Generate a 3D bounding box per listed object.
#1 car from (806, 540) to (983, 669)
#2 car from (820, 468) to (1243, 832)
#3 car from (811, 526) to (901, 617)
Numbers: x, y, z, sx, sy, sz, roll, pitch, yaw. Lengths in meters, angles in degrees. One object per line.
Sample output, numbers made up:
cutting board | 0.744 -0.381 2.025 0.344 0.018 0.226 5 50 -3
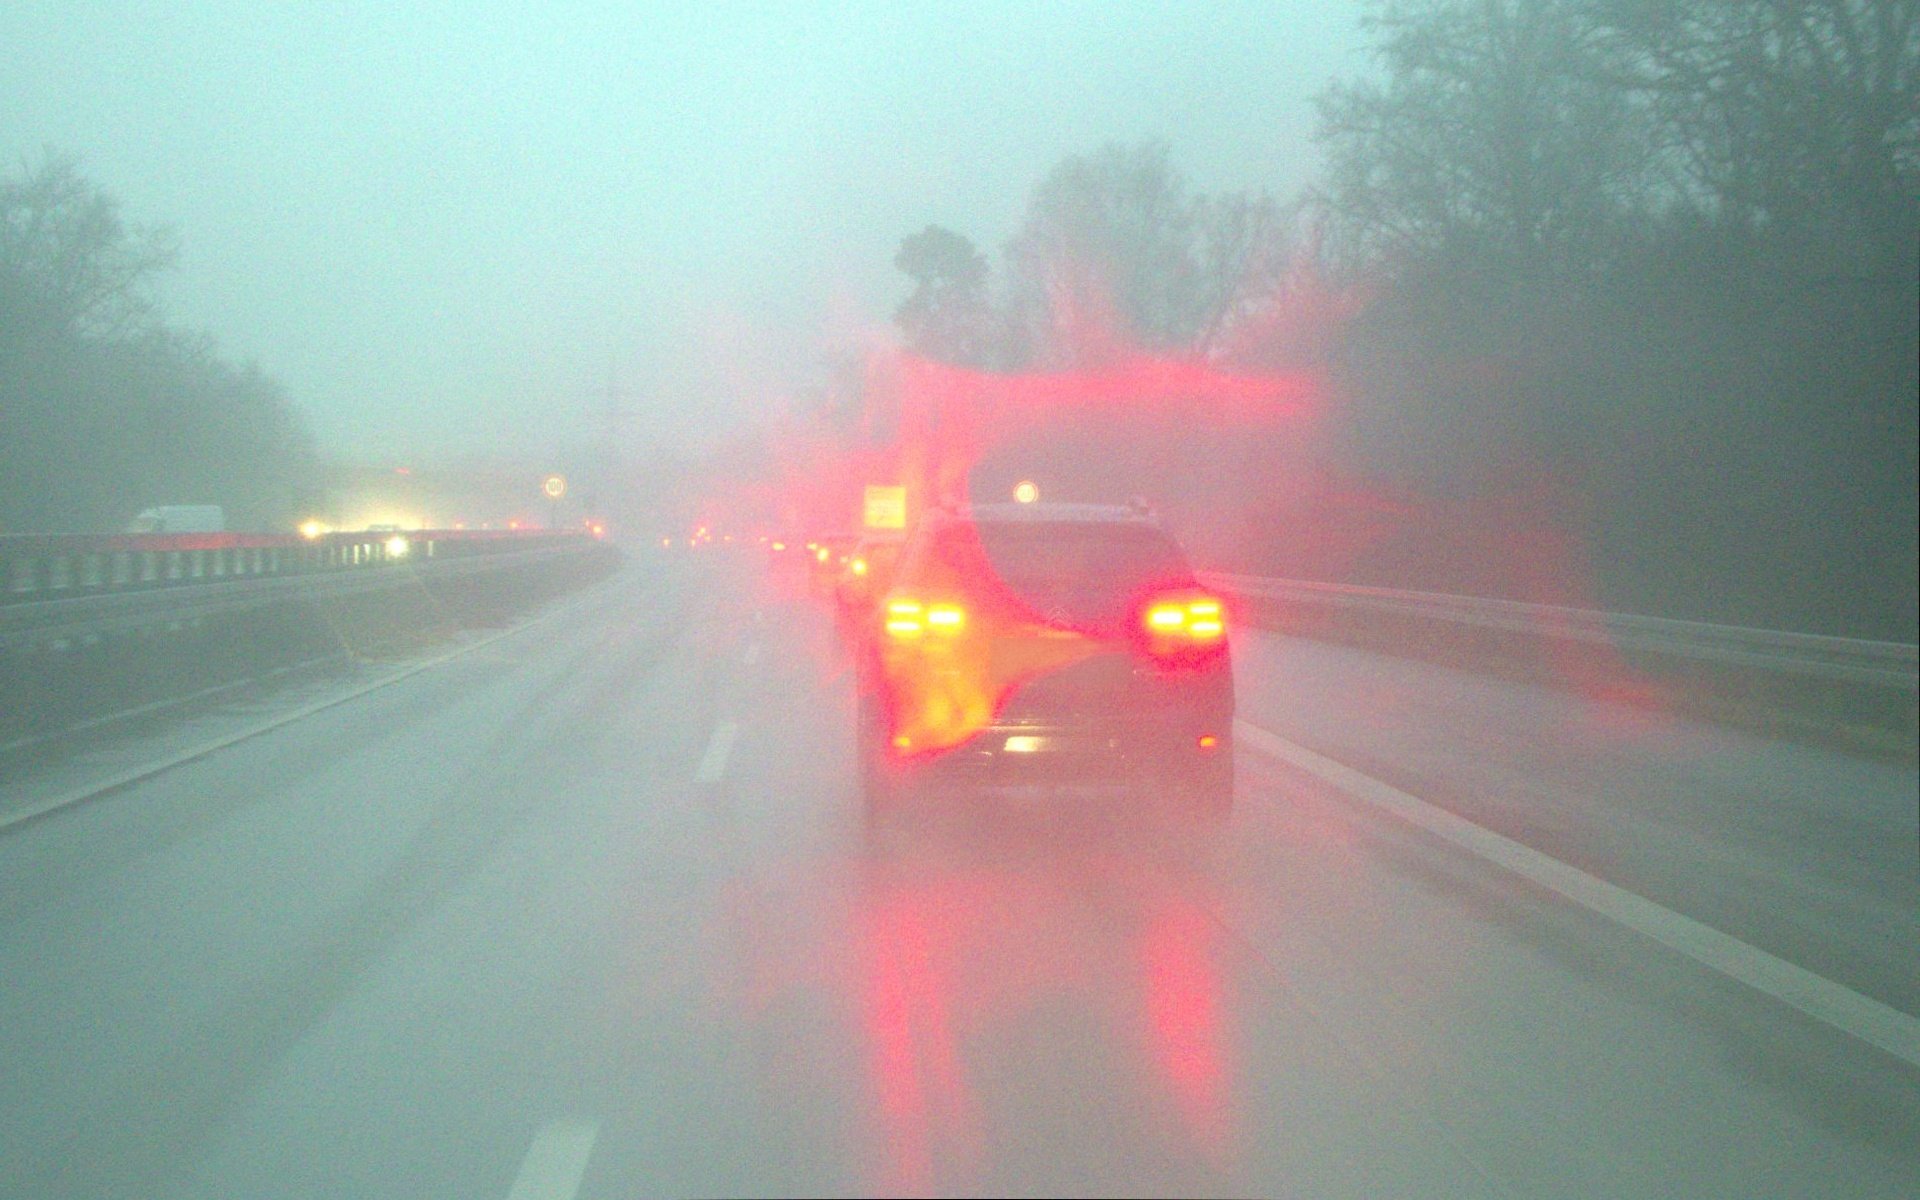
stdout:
car | -0.775 0.029 41.793 1.993 1.415 4.000 2 1 -1
car | 0.272 0.208 18.234 1.992 1.709 3.830 1 1 -2
car | -2.390 -0.669 78.347 1.993 2.007 4.001 1 1 -2
